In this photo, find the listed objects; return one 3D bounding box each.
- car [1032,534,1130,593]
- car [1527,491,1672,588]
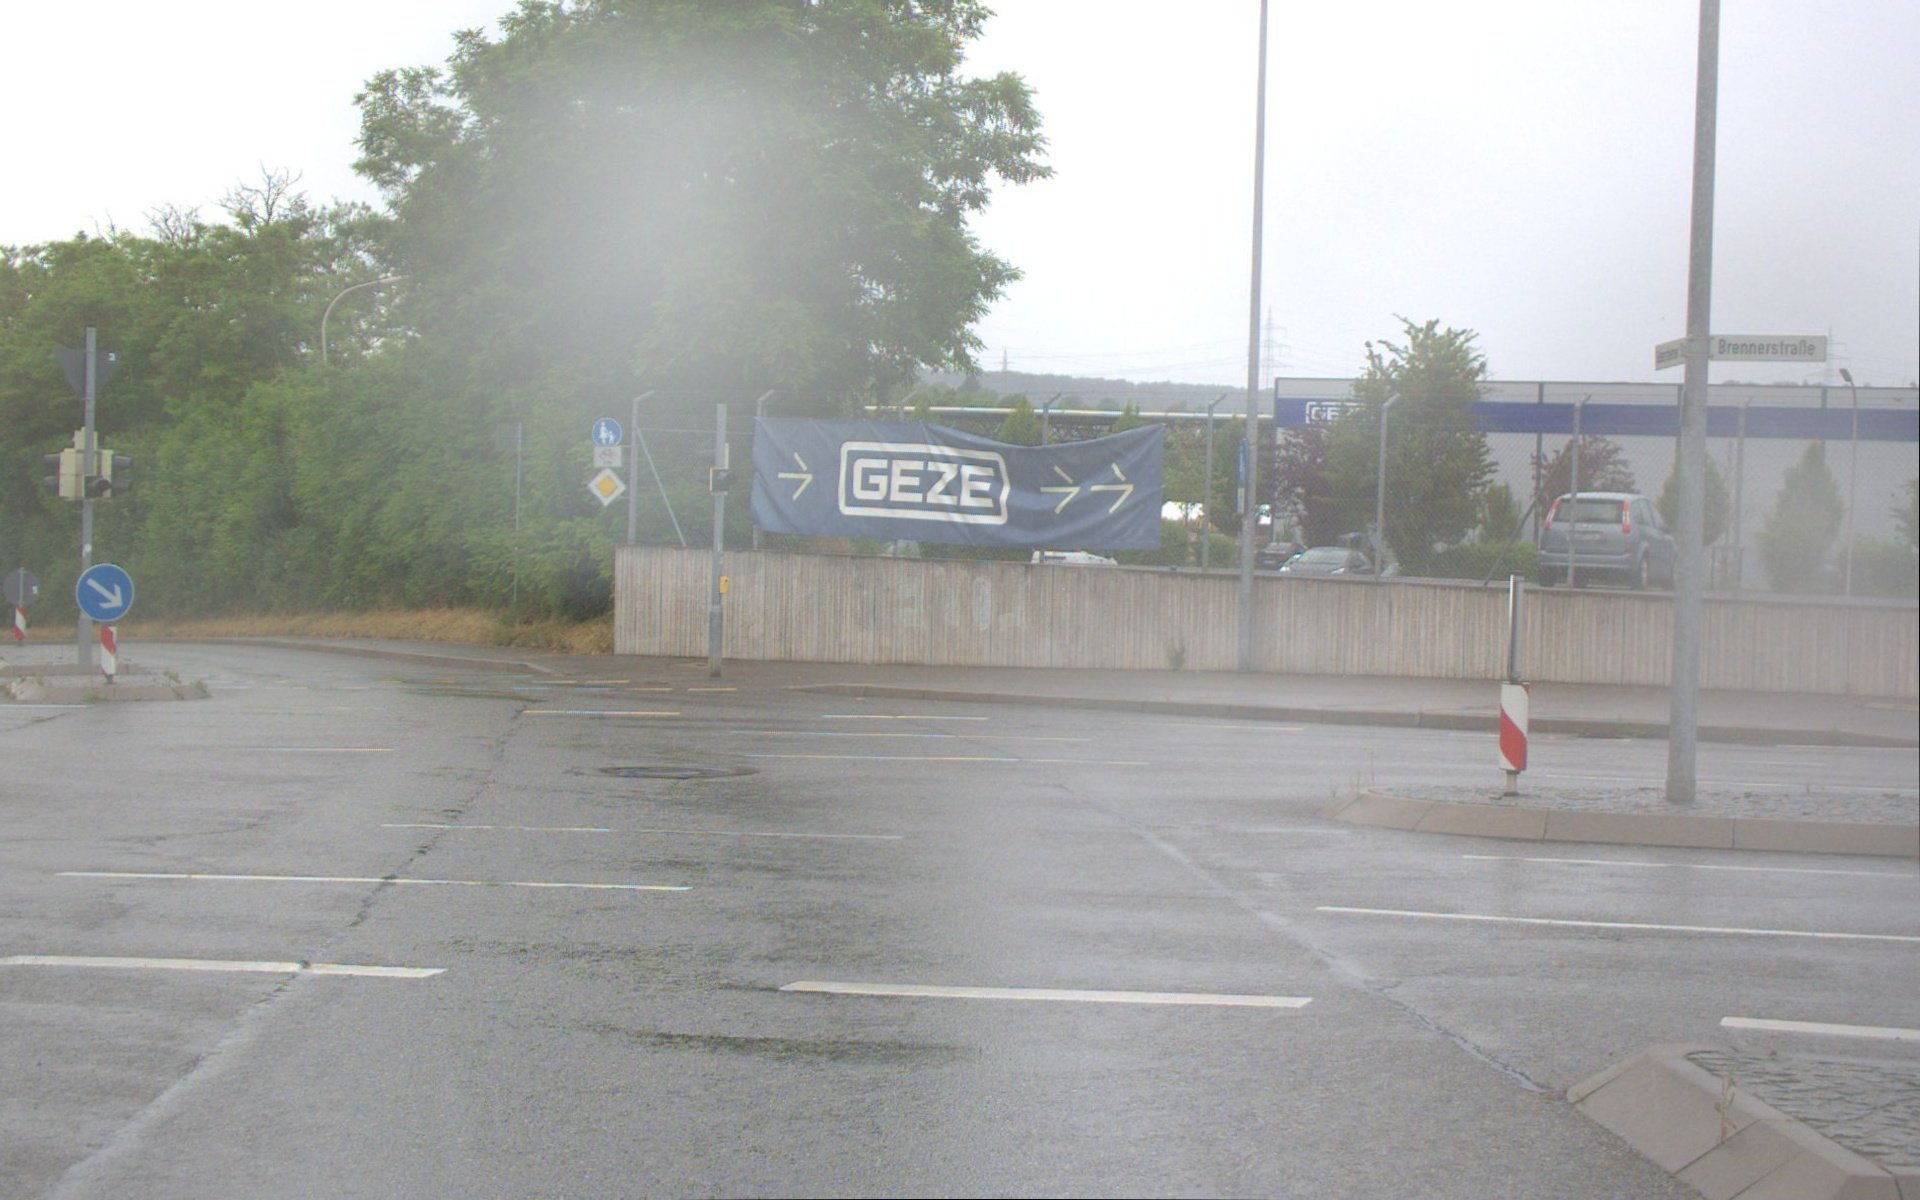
[{"bbox_3d":[3.395,-1.007,95.904,1.668,1.601,3.527,1,1,21],"label":"car"},{"bbox_3d":[10.712,-0.992,57.438,1.744,1.548,3.527,1,1,21],"label":"car"}]
